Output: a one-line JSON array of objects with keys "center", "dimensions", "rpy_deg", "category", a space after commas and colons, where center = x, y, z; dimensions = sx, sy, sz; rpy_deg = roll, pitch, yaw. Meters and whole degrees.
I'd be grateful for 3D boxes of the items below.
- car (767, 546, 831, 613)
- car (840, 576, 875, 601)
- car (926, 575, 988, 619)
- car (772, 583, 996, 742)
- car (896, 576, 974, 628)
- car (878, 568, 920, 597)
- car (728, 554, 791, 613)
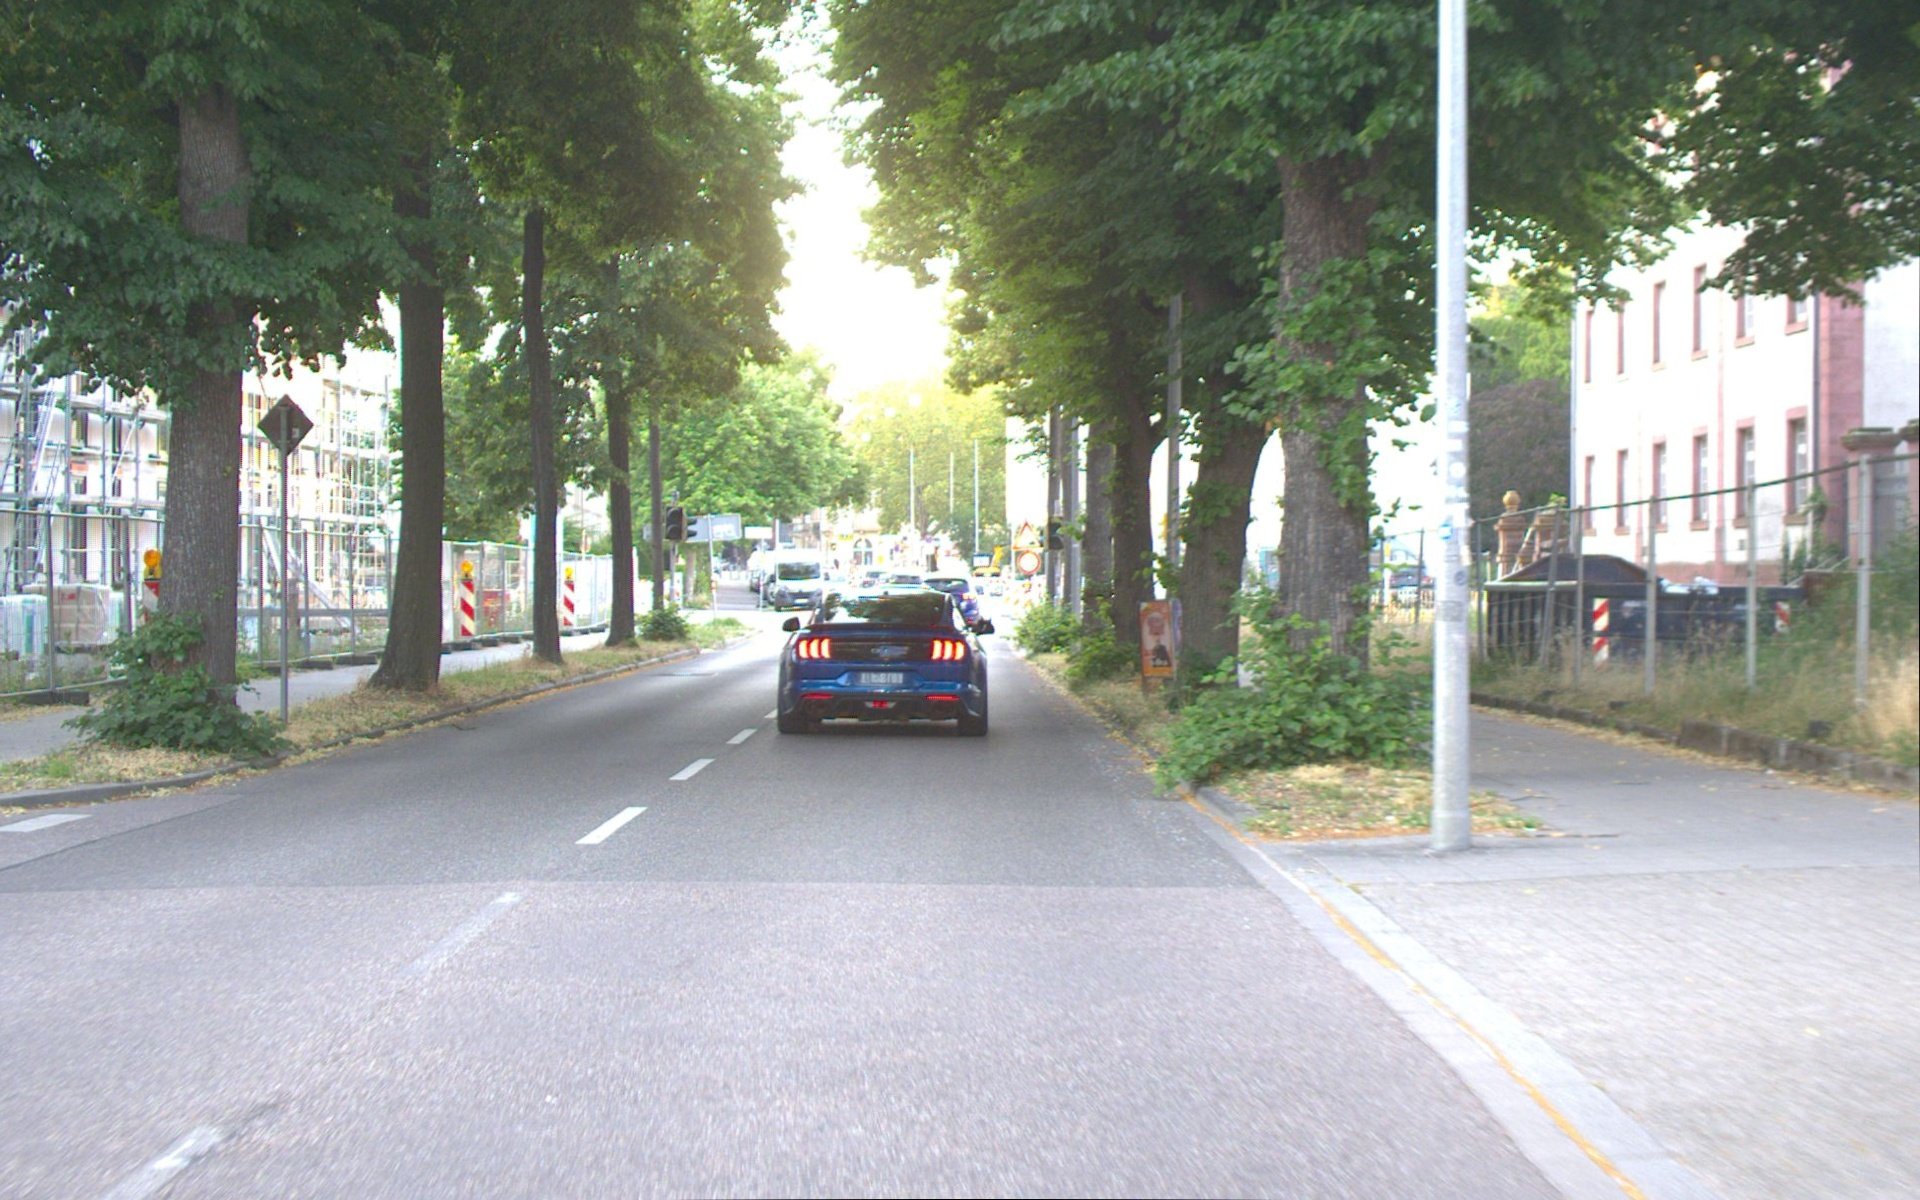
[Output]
[{"center": [-6.634, -0.840, 141.203], "dimensions": [2.492, 2.687, 5.831], "rpy_deg": [0, 1, -4], "category": "car"}, {"center": [-5.985, -0.670, 200.971], "dimensions": [1.947, 1.322, 4.000], "rpy_deg": [2, 1, 0], "category": "car"}, {"center": [-0.108, -0.108, 110.604], "dimensions": [1.947, 1.322, 4.000], "rpy_deg": [2, 1, 0], "category": "car"}, {"center": [-0.689, 0.543, 32.489], "dimensions": [1.947, 1.322, 4.000], "rpy_deg": [2, 1, 0], "category": "car"}, {"center": [-0.662, 0.033, 93.830], "dimensions": [1.947, 1.322, 4.000], "rpy_deg": [2, 1, 2], "category": "car"}, {"center": [-2.953, -0.860, 167.846], "dimensions": [1.947, 1.322, 4.000], "rpy_deg": [2, 1, 0], "category": "car"}, {"center": [-7.571, -0.647, 129.576], "dimensions": [2.336, 2.190, 5.309], "rpy_deg": [0, 1, -4], "category": "car"}]
